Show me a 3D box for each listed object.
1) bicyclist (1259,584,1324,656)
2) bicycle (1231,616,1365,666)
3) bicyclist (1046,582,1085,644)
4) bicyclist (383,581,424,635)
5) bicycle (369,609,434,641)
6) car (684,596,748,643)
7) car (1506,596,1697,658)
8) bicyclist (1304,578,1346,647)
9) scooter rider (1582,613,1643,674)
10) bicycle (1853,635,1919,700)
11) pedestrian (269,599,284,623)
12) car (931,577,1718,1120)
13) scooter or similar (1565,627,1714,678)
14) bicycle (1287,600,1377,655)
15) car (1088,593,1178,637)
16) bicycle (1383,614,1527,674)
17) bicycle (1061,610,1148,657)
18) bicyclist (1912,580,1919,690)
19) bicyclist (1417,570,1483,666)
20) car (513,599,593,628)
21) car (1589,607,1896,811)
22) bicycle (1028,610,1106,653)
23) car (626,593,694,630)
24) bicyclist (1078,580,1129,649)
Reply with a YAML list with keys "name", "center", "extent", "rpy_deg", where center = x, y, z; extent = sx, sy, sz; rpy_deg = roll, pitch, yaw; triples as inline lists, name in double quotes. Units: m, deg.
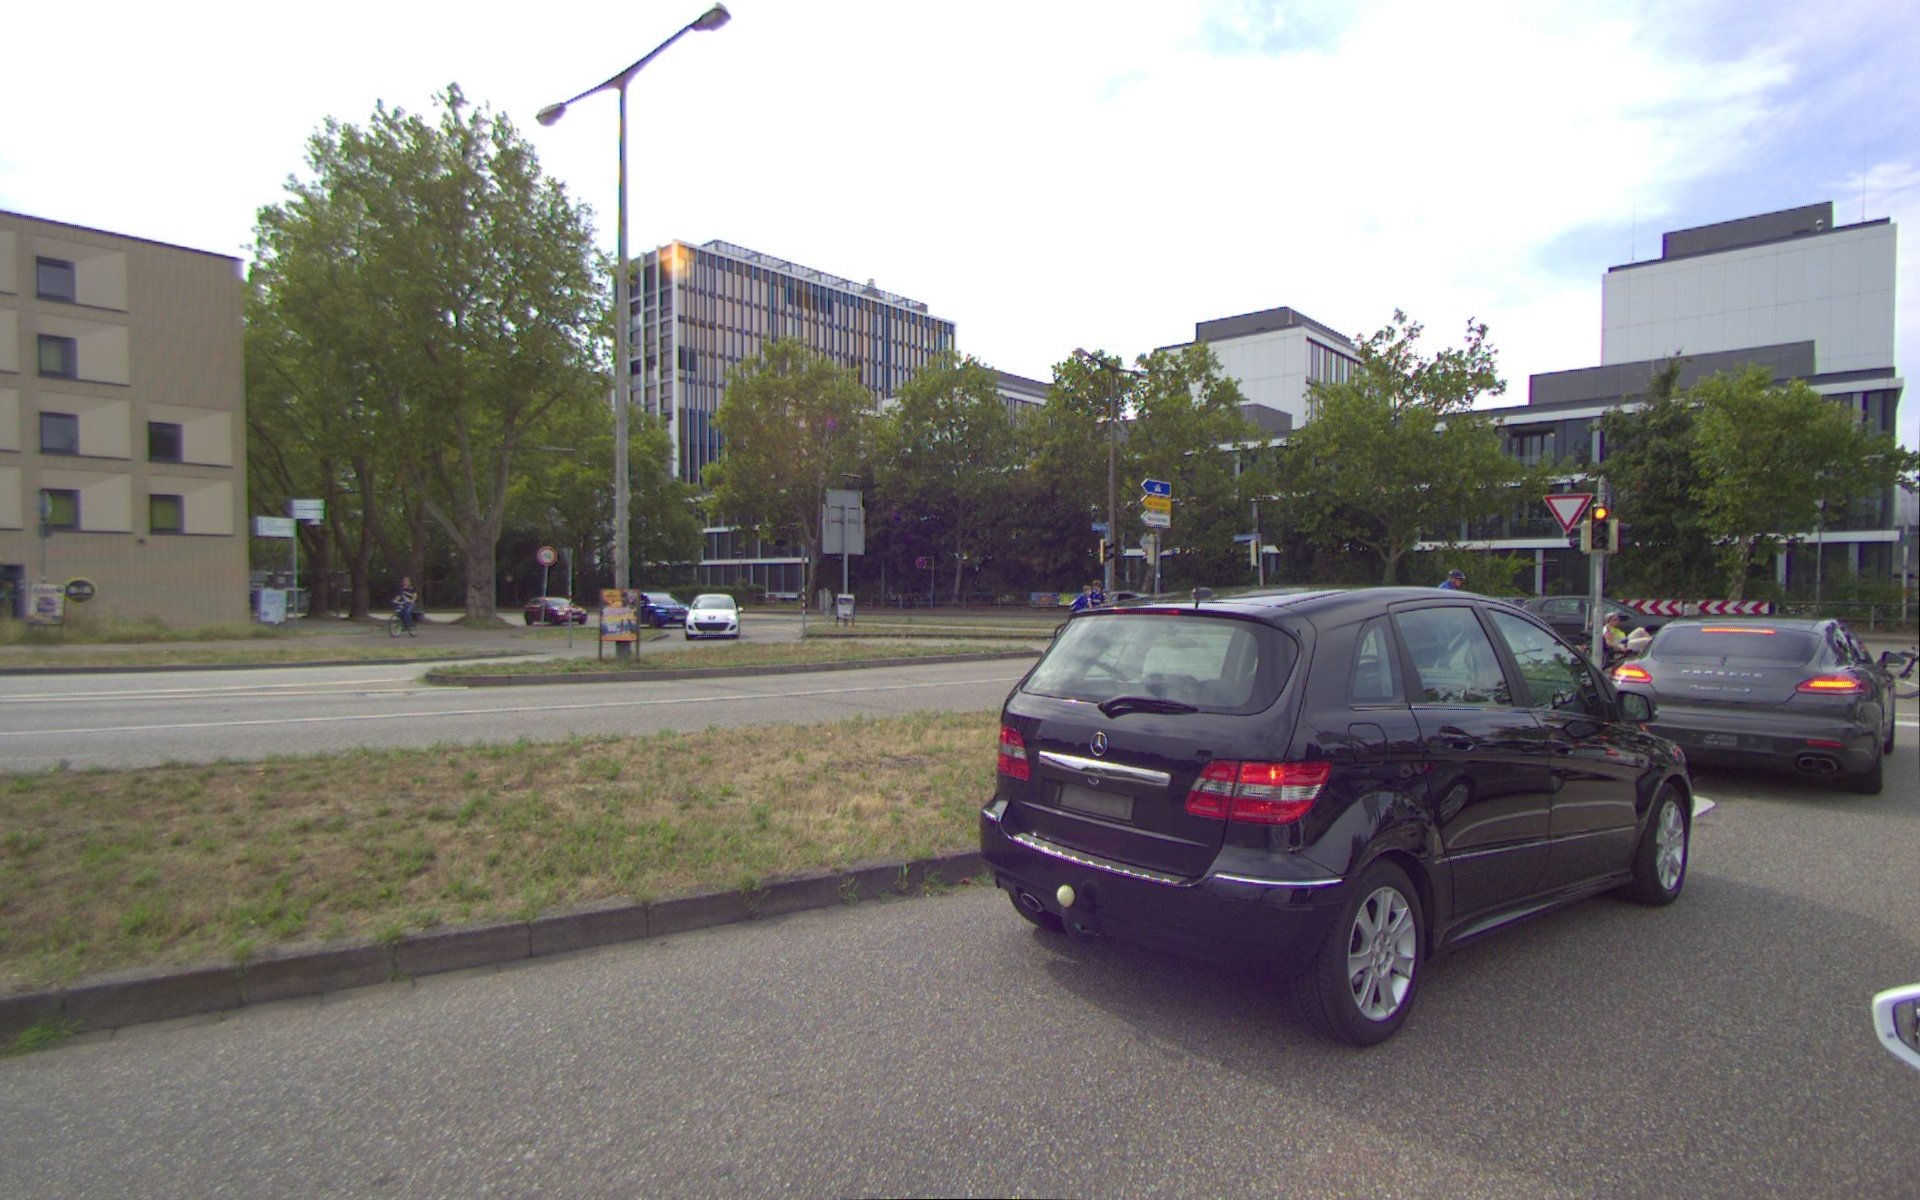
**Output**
- name: "bicyclist"
  center: [6.862, 0.402, 20.804]
  extent: [1.101, 1.456, 0.644]
  rpy_deg: [1, 1, 43]
- name: "bicycle"
  center: [6.943, 0.818, 20.735]
  extent: [2.554, 0.902, 0.701]
  rpy_deg: [1, 1, 42]
- name: "bicyclist"
  center: [2.698, 0.323, 25.622]
  extent: [0.825, 1.550, 0.627]
  rpy_deg: [1, 1, 27]
- name: "bicyclist"
  center: [-17.251, 0.231, 31.153]
  extent: [0.727, 1.636, 0.921]
  rpy_deg: [1, 0, 3]
- name: "bicycle"
  center: [-17.268, 0.770, 31.122]
  extent: [0.727, 0.921, 2.120]
  rpy_deg: [1, 0, 3]
- name: "car"
  center: [-8.153, 0.635, 33.850]
  extent: [1.699, 1.464, 3.871]
  rpy_deg: [2, 0, -8]
- name: "car"
  center: [16.840, 0.653, 26.461]
  extent: [4.012, 1.470, 1.693]
  rpy_deg: [1, 0, 42]
- name: "bicyclist"
  center: [8.634, 0.283, 23.760]
  extent: [0.769, 1.602, 0.652]
  rpy_deg: [1, 1, 35]
- name: "scooter rider"
  center: [13.072, 0.850, 20.122]
  extent: [0.903, 1.152, 0.804]
  rpy_deg: [1, 1, 41]
- name: "bicycle"
  center: [15.495, 1.082, 15.765]
  extent: [2.203, 0.965, 0.807]
  rpy_deg: [1, 0, 42]
- name: "pedestrian"
  center: [-33.074, 0.541, 48.618]
  extent: [0.456, 1.140, 0.499]
  rpy_deg: [1, 1, 41]
- name: "car"
  center: [1.978, 0.709, 4.885]
  extent: [4.000, 1.596, 1.743]
  rpy_deg: [0, 2, -38]
- name: "scooter or similar"
  center: [13.391, 1.016, 19.841]
  extent: [2.351, 0.861, 0.804]
  rpy_deg: [1, 1, 41]
- name: "bicycle"
  center: [8.759, 0.623, 23.687]
  extent: [1.876, 1.226, 0.641]
  rpy_deg: [1, 1, 36]
- name: "car"
  center: [5.940, 0.502, 34.573]
  extent: [2.678, 1.441, 1.492]
  rpy_deg: [1, 1, 40]
- name: "bicycle"
  center: [8.922, 0.763, 18.164]
  extent: [2.203, 0.965, 0.807]
  rpy_deg: [1, 0, 42]
- name: "bicycle"
  center: [3.326, 0.754, 23.146]
  extent: [1.872, 1.027, 0.627]
  rpy_deg: [1, 1, 28]
- name: "bicyclist"
  center: [15.624, 0.560, 15.641]
  extent: [1.099, 1.719, 0.809]
  rpy_deg: [1, 0, 42]
- name: "bicyclist"
  center: [8.878, 0.313, 18.209]
  extent: [0.871, 1.678, 0.807]
  rpy_deg: [1, 1, 42]
- name: "car"
  center: [-21.102, 0.691, 52.050]
  extent: [4.146, 1.399, 1.943]
  rpy_deg: [1, 0, 36]
- name: "car"
  center: [7.715, 0.816, 9.695]
  extent: [1.800, 1.433, 4.746]
  rpy_deg: [2, 1, 44]
- name: "bicycle"
  center: [2.730, 0.797, 25.603]
  extent: [1.872, 1.027, 0.627]
  rpy_deg: [1, 1, 27]
- name: "car"
  center: [-13.608, 0.500, 45.414]
  extent: [1.927, 1.581, 4.427]
  rpy_deg: [2, 0, -30]
- name: "bicyclist"
  center: [3.305, 0.325, 23.143]
  extent: [1.001, 1.560, 0.627]
  rpy_deg: [1, 1, 28]
